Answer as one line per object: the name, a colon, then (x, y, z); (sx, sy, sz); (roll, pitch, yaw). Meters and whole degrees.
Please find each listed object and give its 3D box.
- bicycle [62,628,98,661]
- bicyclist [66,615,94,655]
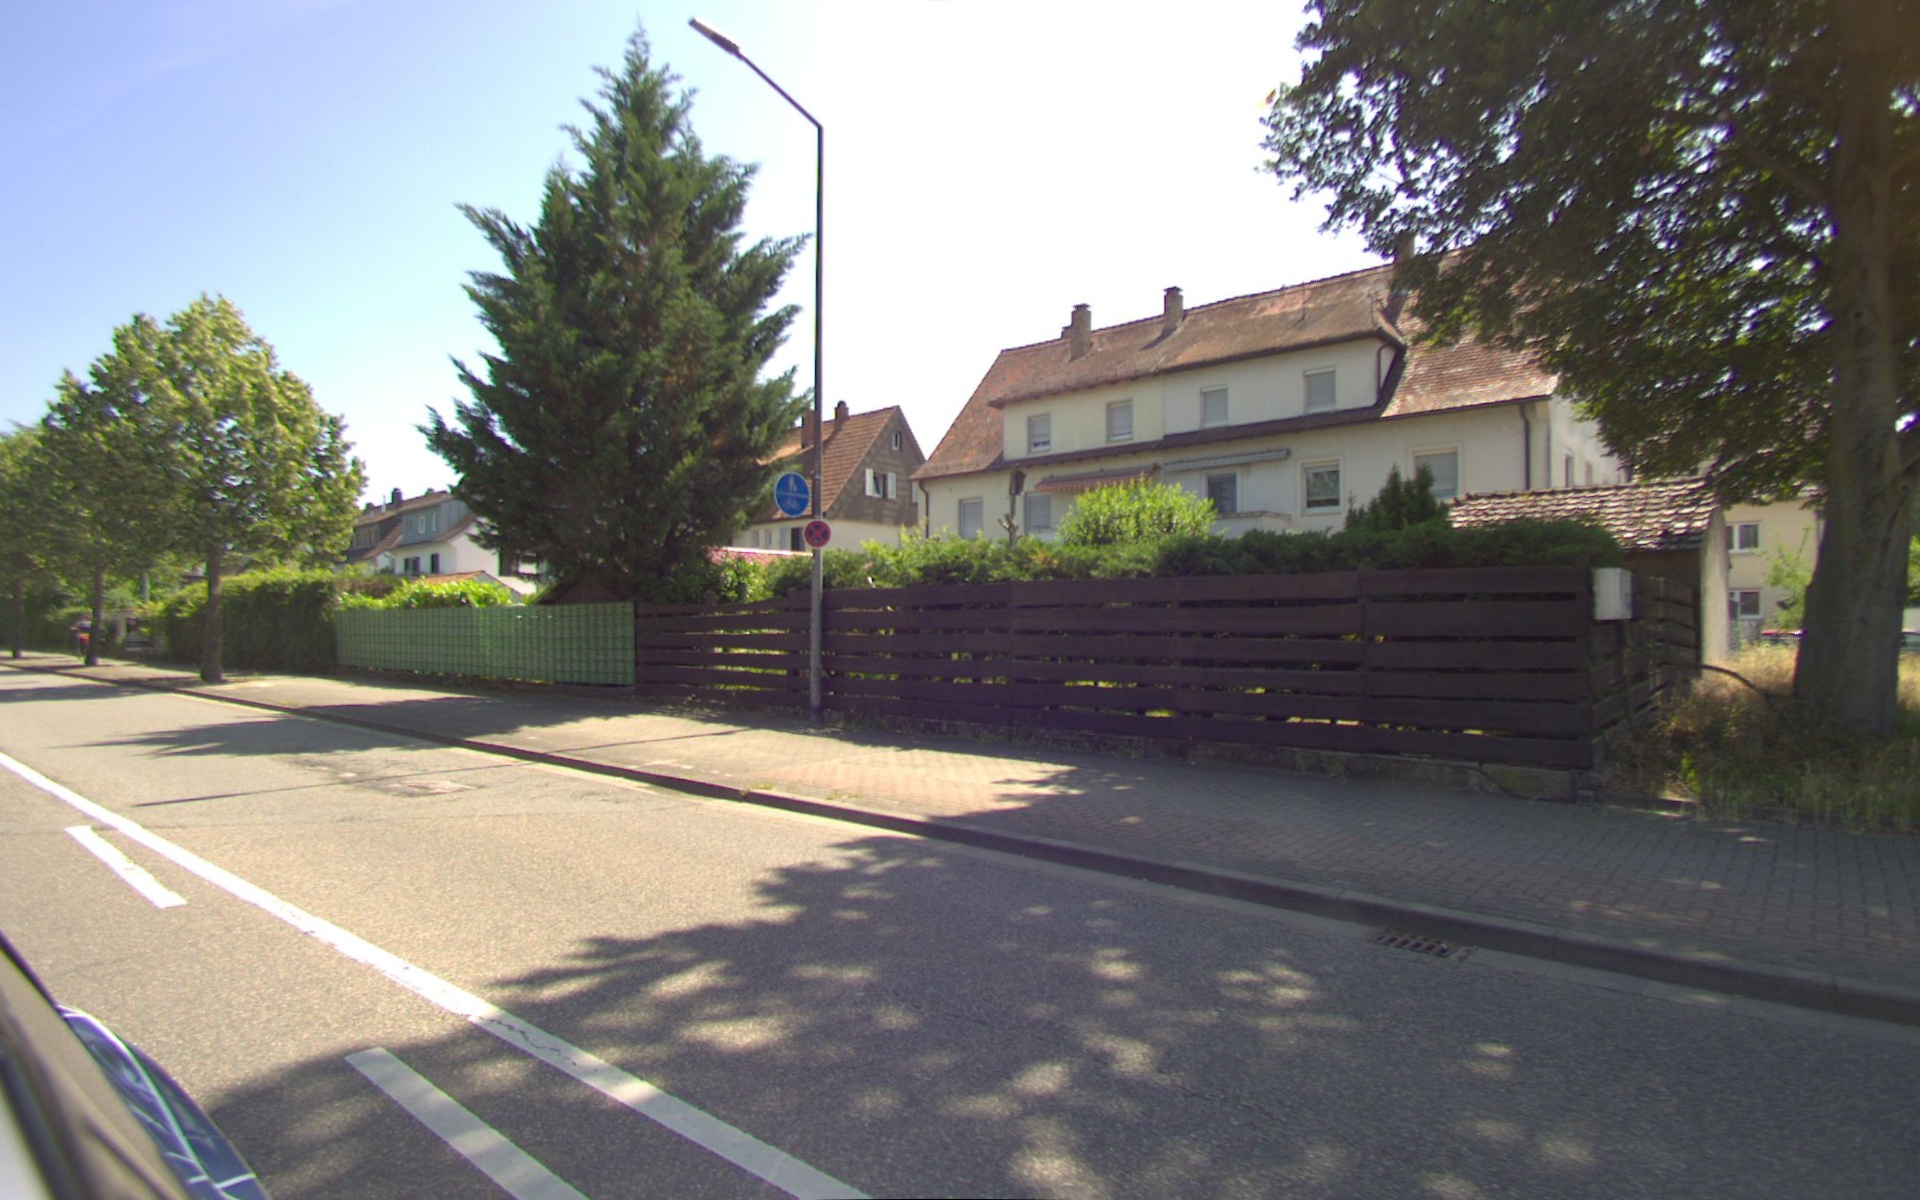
bicycle: (-32.001, 1.609, 36.790); (1.813, 1.189, 0.626); (-2, -2, 38)
bicyclist: (-32.007, 1.262, 36.803); (0.675, 1.419, 0.622); (-2, -2, 37)
